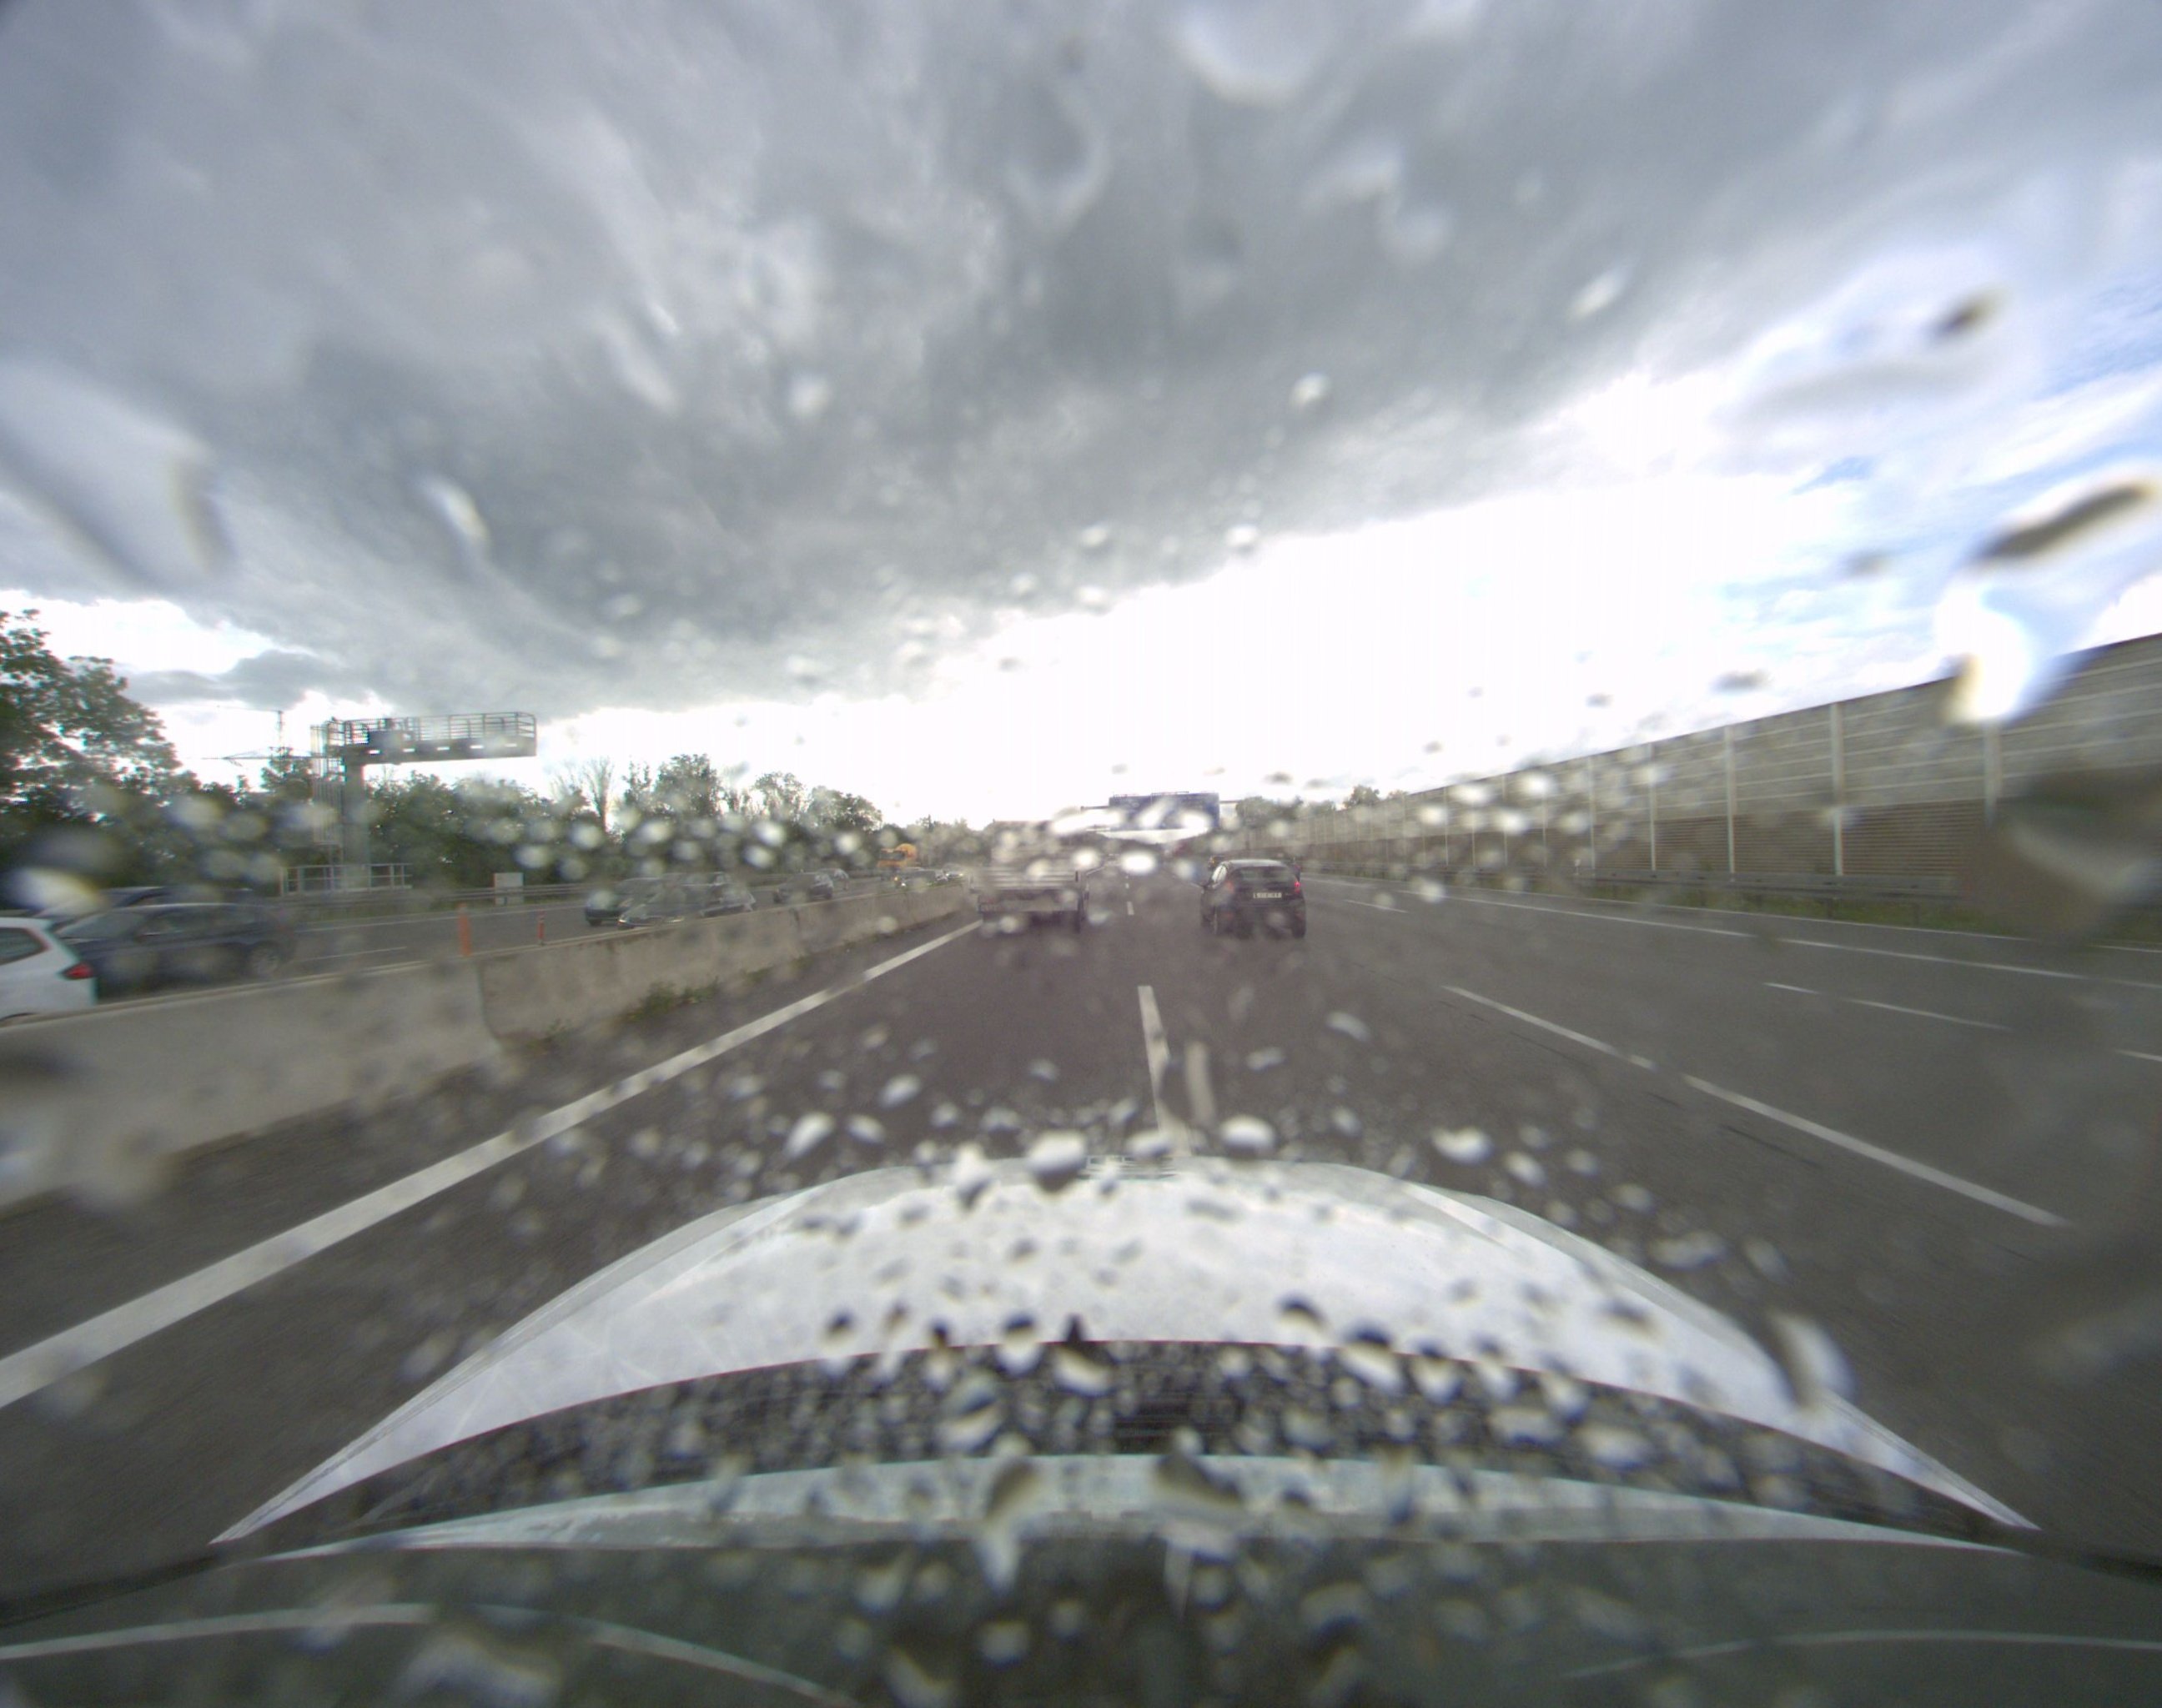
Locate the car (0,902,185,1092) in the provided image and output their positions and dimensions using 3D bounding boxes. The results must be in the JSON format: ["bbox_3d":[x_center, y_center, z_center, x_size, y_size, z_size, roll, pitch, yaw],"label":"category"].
[{"bbox_3d":[-10.704,1.325,6.354,1.716,1.646,5.000,0,-1,2],"label":"car"}]

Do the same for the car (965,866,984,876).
[{"bbox_3d":[-16.172,2.579,123.803,1.974,1.494,4.918,-2,-1,3],"label":"car"}]

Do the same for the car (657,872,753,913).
[{"bbox_3d":[-17.139,1.698,37.482,1.715,1.646,5.240,0,-1,3],"label":"car"}]

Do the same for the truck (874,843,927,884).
[{"bbox_3d":[-18.771,0.929,85.456,2.903,4.014,9.591,-1,0,3],"label":"truck"}]

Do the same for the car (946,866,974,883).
[{"bbox_3d":[-11.497,1.919,77.624,1.715,1.470,4.853,0,-1,3],"label":"car"}]

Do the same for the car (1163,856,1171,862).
[{"bbox_3d":[25.114,1.419,236.856,1.961,1.561,4.434,-2,-1,1],"label":"car"}]

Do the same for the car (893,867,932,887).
[{"bbox_3d":[-12.575,1.710,60.919,1.715,1.428,4.523,0,-1,3],"label":"car"}]

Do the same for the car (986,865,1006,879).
[{"bbox_3d":[-10.253,2.119,98.565,1.715,1.603,4.648,0,-1,3],"label":"car"}]

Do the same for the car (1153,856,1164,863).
[{"bbox_3d":[17.145,1.210,179.979,1.961,1.561,4.434,-2,-1,1],"label":"car"}]

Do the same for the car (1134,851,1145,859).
[{"bbox_3d":[11.979,0.201,166.218,1.961,1.561,4.434,-2,-1,1],"label":"car"}]

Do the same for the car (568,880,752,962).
[{"bbox_3d":[-10.057,1.516,20.007,1.716,1.646,4.995,0,-1,2],"label":"car"}]

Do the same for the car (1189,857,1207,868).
[{"bbox_3d":[16.416,1.207,114.477,1.876,1.561,4.434,-2,-1,1],"label":"car"}]

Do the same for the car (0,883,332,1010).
[{"bbox_3d":[-15.687,1.387,13.733,1.715,1.646,4.523,0,-1,3],"label":"car"}]

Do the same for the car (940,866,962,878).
[{"bbox_3d":[-17.065,2.362,107.191,1.715,1.603,4.918,0,-1,3],"label":"car"}]

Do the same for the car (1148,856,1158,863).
[{"bbox_3d":[17.856,1.347,202.356,1.961,1.561,4.432,-2,-1,0],"label":"car"}]

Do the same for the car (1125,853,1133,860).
[{"bbox_3d":[12.646,0.681,213.176,1.961,1.561,4.434,-2,-1,1],"label":"car"}]

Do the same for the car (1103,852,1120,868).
[{"bbox_3d":[3.371,0.627,89.086,1.710,1.624,4.282,-1,1,3],"label":"car"}]

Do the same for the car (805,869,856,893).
[{"bbox_3d":[-16.481,1.754,53.873,1.715,1.428,4.523,0,-1,3],"label":"car"}]

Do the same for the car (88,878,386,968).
[{"bbox_3d":[-18.377,1.403,18.121,1.715,1.646,4.523,0,-1,3],"label":"car"}]

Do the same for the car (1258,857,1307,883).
[{"bbox_3d":[11.547,0.901,46.951,1.942,1.418,4.235,-1,0,3],"label":"car"}]

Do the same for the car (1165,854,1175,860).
[{"bbox_3d":[23.271,0.807,212.948,1.961,1.561,4.434,-2,-1,1],"label":"car"}]

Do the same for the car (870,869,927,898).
[{"bbox_3d":[-10.192,1.615,45.874,1.715,1.428,5.235,0,0,3],"label":"car"}]

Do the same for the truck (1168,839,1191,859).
[{"bbox_3d":[18.983,-0.934,157.332,3.141,3.601,12.703,0,0,2],"label":"truck"}]

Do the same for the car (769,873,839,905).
[{"bbox_3d":[-13.925,1.728,41.218,1.715,1.428,4.523,0,-1,3],"label":"car"}]

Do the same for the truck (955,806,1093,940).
[{"bbox_3d":[-0.989,0.319,18.507,2.298,2.439,7.153,-1,1,2],"label":"truck"}]

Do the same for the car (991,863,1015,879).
[{"bbox_3d":[-7.495,1.627,78.538,1.716,1.428,4.652,0,-1,2],"label":"car"}]

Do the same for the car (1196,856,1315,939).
[{"bbox_3d":[3.364,0.780,16.455,1.710,1.417,4.282,-1,0,3],"label":"car"}]

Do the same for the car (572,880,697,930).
[{"bbox_3d":[-15.005,1.659,27.666,1.716,1.418,4.205,-2,-1,3],"label":"car"}]

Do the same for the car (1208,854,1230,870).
[{"bbox_3d":[14.179,0.823,83.922,1.874,1.542,4.438,-2,-1,5],"label":"car"}]
